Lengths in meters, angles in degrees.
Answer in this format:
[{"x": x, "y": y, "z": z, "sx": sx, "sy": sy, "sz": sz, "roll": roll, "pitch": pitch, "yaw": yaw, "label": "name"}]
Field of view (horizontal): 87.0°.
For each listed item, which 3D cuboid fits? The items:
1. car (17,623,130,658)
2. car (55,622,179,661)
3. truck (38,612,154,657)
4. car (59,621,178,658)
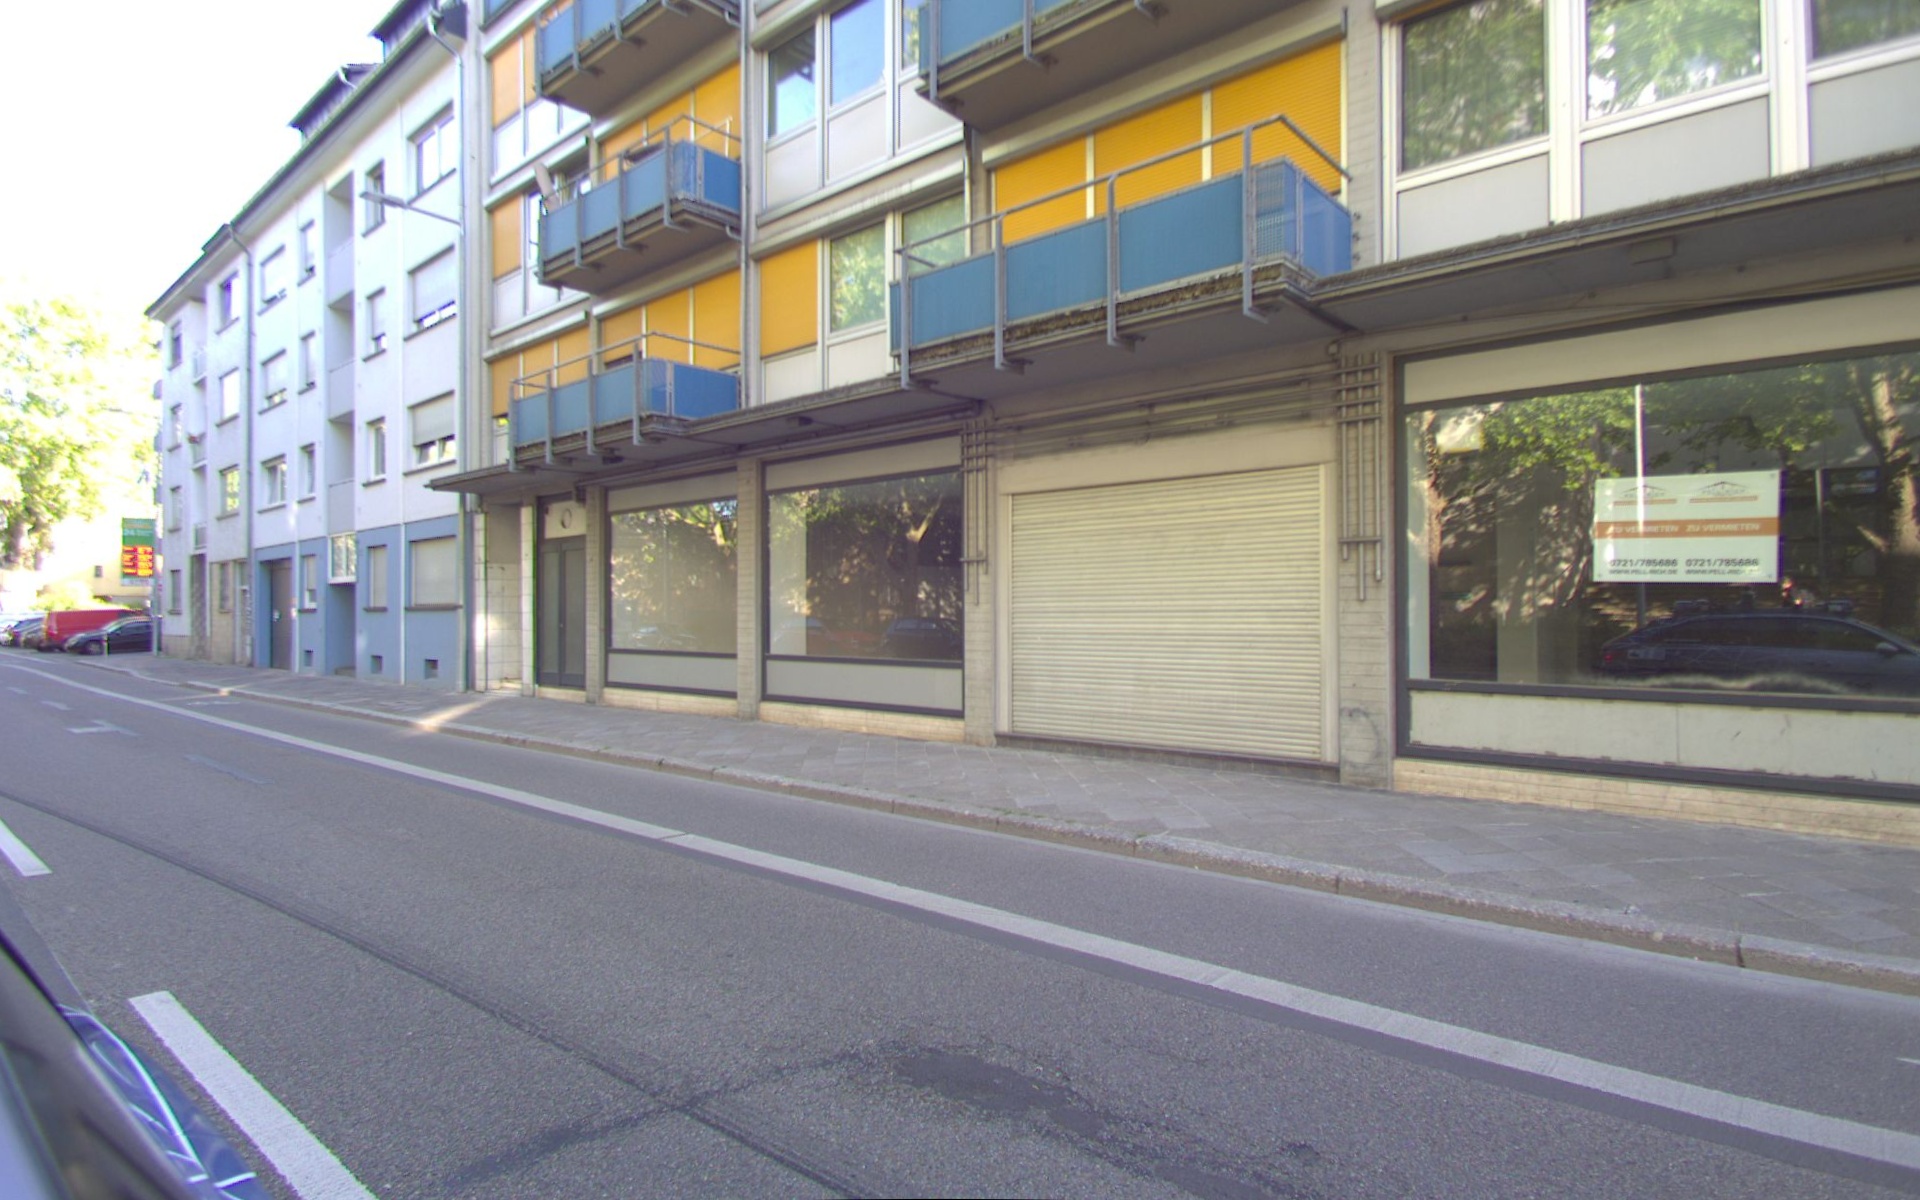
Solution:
[{"x": -42.907, "y": 1.908, "z": 49.041, "sx": 1.761, "sy": 1.514, "sz": 3.944, "roll": -1, "pitch": 0, "yaw": 42, "label": "car"}, {"x": -36.626, "y": 1.767, "z": 44.015, "sx": 1.761, "sy": 1.468, "sz": 3.944, "roll": -1, "pitch": 0, "yaw": 42, "label": "car"}, {"x": -40.497, "y": 1.576, "z": 47.494, "sx": 1.761, "sy": 1.951, "sz": 3.944, "roll": -1, "pitch": 0, "yaw": 42, "label": "truck"}, {"x": -38.106, "y": 1.763, "z": 45.902, "sx": 1.761, "sy": 1.514, "sz": 3.944, "roll": -1, "pitch": 0, "yaw": 42, "label": "car"}]
